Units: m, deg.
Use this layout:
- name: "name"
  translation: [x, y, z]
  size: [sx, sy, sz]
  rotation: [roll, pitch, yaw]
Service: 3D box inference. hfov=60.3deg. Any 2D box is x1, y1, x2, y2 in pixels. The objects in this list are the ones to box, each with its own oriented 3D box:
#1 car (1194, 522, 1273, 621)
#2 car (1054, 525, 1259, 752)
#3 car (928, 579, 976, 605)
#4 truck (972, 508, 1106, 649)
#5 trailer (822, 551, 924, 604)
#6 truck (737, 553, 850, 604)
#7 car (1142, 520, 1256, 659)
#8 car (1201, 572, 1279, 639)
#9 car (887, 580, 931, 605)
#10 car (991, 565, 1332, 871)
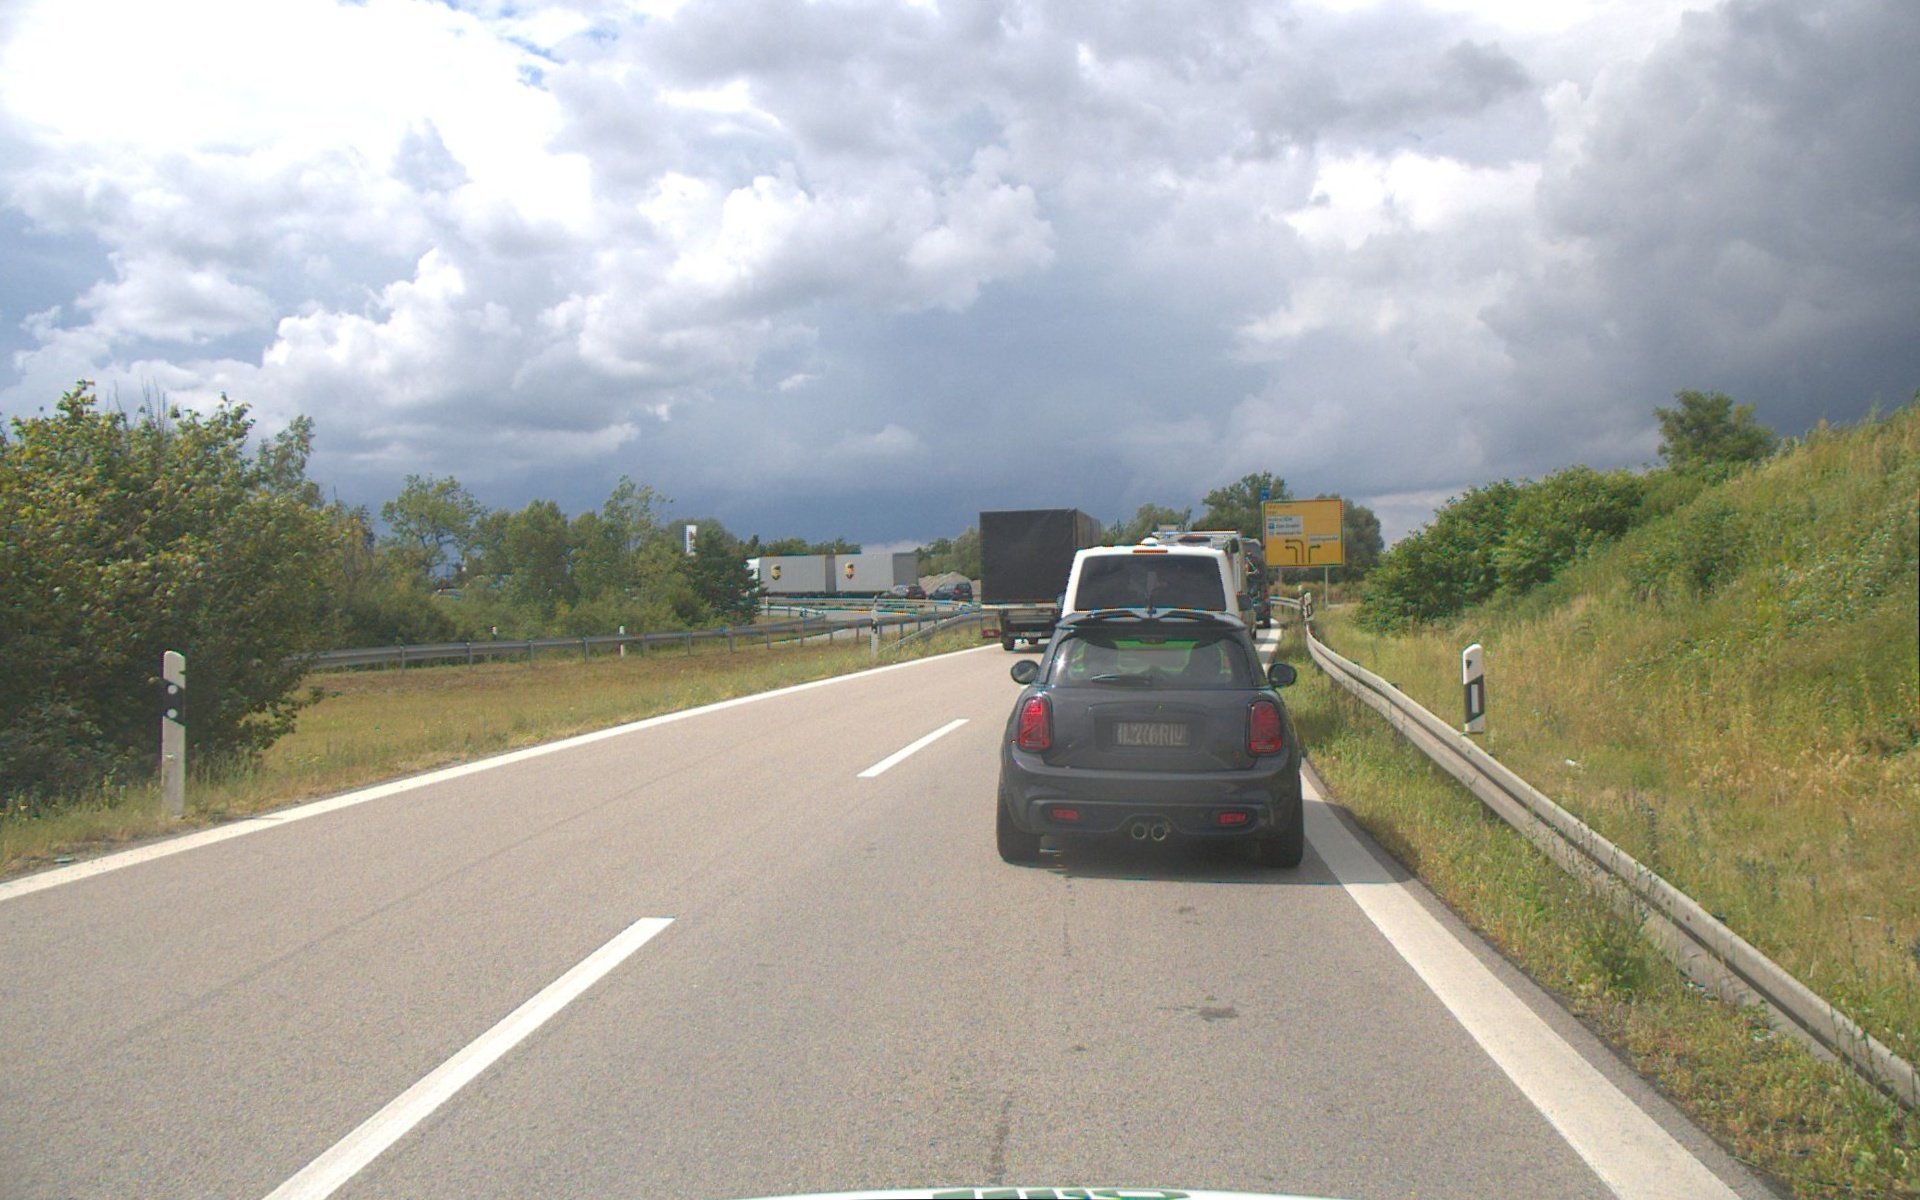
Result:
- name: "car"
  translation: [9.288, -0.867, 55.729]
  size: [2.261, 3.122, 6.667]
  rotation: [1, -1, 12]
- name: "car"
  translation: [2.089, 0.356, 17.354]
  size: [1.870, 2.081, 4.184]
  rotation: [0, 0, 8]
- name: "car"
  translation: [-0.587, -0.562, 122.930]
  size: [1.897, 1.870, 4.281]
  rotation: [1, -1, -26]
- name: "truck"
  translation: [2.130, -0.461, 41.695]
  size: [2.505, 3.223, 7.474]
  rotation: [1, -1, 9]
- name: "trailer"
  translation: [-6.820, -1.727, 128.854]
  size: [3.023, 3.966, 8.629]
  rotation: [2, -1, -44]
- name: "truck"
  translation: [-13.646, -1.730, 134.967]
  size: [9.834, 4.046, 2.833]
  rotation: [0, -1, 38]
- name: "car"
  translation: [5.095, -0.180, 34.893]
  size: [2.164, 2.668, 5.539]
  rotation: [1, -1, 9]
- name: "car"
  translation: [7.442, 0.155, 44.016]
  size: [1.951, 1.671, 3.932]
  rotation: [1, -1, 9]
- name: "car"
  translation: [-3.766, -0.537, 120.951]
  size: [1.790, 1.786, 3.967]
  rotation: [1, -1, -26]
- name: "car"
  translation: [1.243, 0.607, 10.520]
  size: [1.761, 1.573, 3.741]
  rotation: [0, 0, 6]
